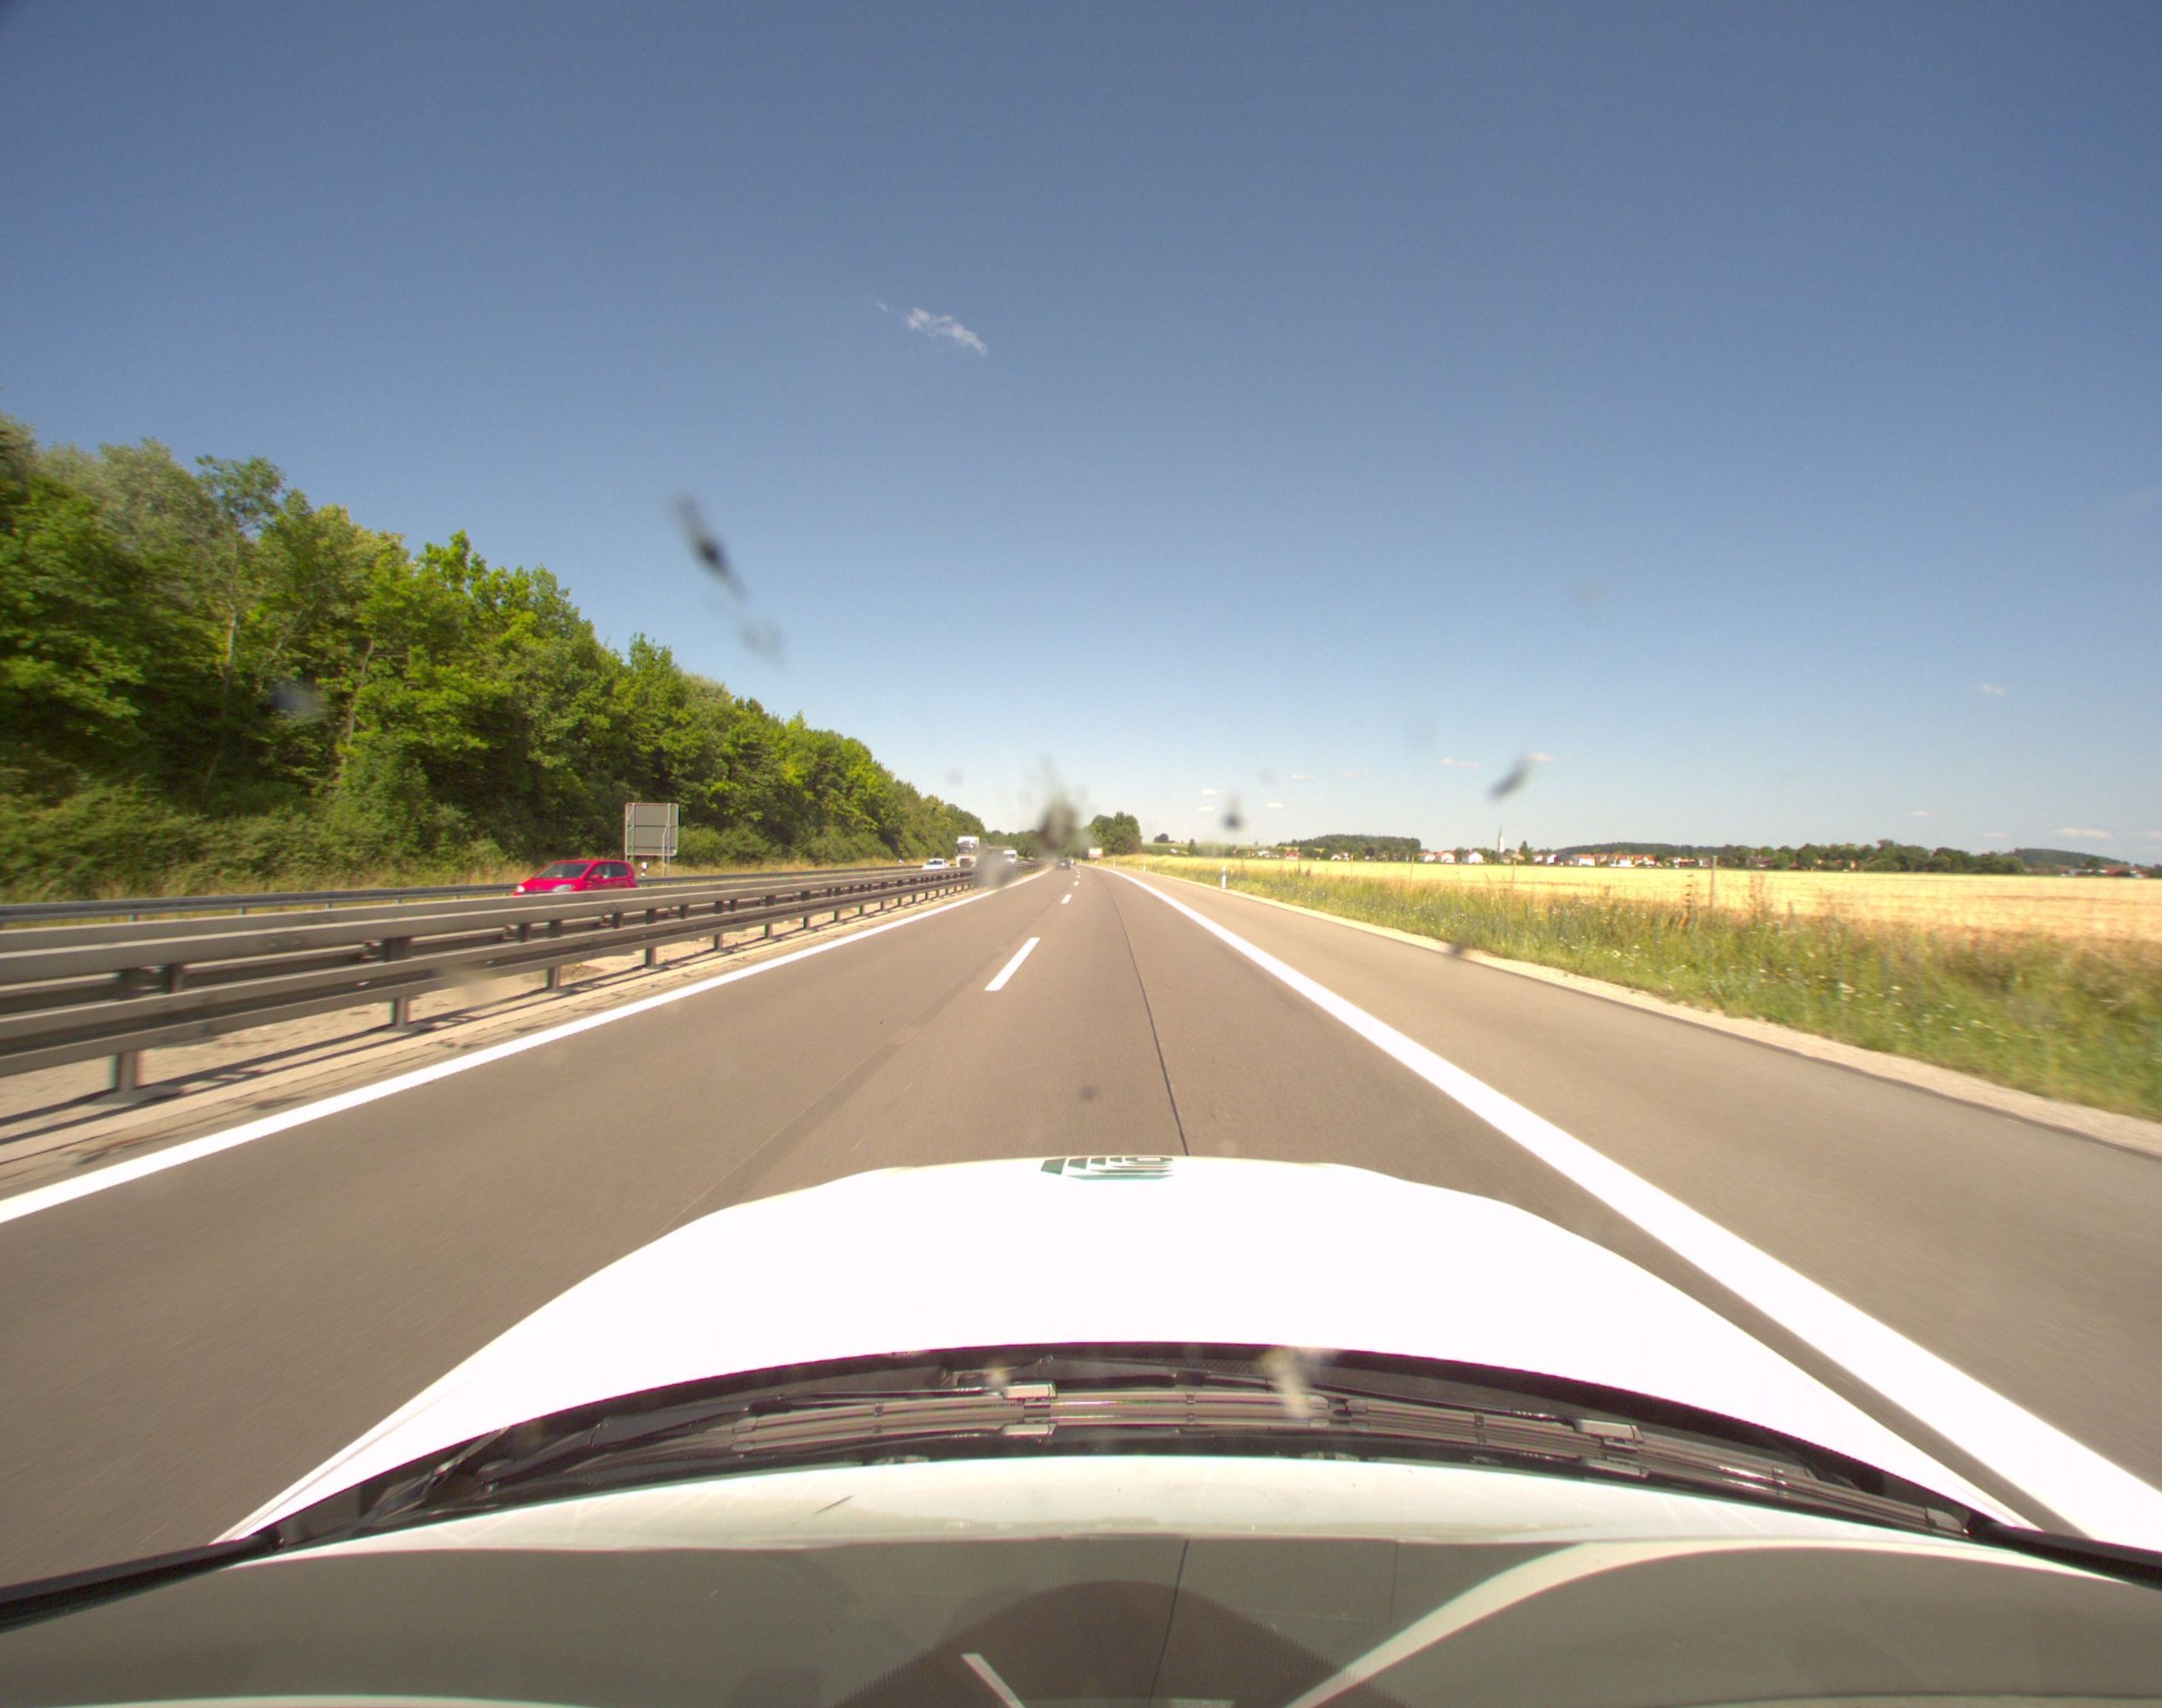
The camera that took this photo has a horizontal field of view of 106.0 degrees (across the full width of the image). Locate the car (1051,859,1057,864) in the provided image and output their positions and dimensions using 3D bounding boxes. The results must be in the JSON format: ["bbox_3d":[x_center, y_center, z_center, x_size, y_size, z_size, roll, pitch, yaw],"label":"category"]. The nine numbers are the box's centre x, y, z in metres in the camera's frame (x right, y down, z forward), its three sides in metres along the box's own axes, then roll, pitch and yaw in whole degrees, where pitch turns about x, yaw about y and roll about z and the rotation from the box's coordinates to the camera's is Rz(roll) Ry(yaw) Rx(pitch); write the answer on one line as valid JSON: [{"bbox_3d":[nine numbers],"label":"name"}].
[{"bbox_3d":[-7.434,2.064,224.462,1.671,1.453,3.590,0,0,-1],"label":"car"}]

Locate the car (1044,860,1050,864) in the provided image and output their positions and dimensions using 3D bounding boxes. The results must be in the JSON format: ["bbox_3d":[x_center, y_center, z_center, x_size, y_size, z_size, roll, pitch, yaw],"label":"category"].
[{"bbox_3d":[-10.958,2.490,258.875,1.670,1.453,3.592,0,0,1],"label":"car"}]

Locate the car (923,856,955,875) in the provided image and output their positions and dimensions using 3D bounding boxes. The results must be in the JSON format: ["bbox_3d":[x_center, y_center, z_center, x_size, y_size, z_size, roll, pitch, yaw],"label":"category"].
[{"bbox_3d":[-11.765,0.940,67.673,1.679,1.483,4.978,0,0,1],"label":"car"}]

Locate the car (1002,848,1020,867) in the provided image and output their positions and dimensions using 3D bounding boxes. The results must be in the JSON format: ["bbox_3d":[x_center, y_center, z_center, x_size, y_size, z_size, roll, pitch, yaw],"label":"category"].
[{"bbox_3d":[-9.609,0.506,111.944,2.083,2.593,5.810,0,0,-1],"label":"car"}]

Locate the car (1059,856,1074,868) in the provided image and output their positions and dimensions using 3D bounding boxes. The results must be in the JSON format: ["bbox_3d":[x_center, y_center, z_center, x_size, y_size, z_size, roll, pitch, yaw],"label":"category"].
[{"bbox_3d":[-1.841,1.031,105.819,1.841,1.432,5.865,0,0,0],"label":"car"}]

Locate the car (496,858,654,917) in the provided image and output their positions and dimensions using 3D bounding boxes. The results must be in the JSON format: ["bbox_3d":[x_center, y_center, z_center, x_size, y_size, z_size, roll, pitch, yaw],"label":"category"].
[{"bbox_3d":[-13.721,0.846,22.409,1.666,1.437,4.143,0,0,1],"label":"car"}]

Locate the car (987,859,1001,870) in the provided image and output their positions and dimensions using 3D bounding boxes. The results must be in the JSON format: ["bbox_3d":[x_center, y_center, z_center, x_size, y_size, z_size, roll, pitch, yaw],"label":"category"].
[{"bbox_3d":[-13.849,1.644,130.101,1.751,1.626,4.001,0,0,1],"label":"car"}]

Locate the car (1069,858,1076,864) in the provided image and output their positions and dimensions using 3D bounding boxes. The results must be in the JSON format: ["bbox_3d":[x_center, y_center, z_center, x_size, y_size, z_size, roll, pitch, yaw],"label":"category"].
[{"bbox_3d":[-1.972,1.614,195.580,1.671,1.453,3.589,0,0,-2],"label":"car"}]

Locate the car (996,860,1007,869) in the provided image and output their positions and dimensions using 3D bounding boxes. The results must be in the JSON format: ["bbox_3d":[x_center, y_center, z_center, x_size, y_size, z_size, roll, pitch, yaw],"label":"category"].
[{"bbox_3d":[-15.706,2.079,161.082,1.751,1.626,4.001,0,0,1],"label":"car"}]

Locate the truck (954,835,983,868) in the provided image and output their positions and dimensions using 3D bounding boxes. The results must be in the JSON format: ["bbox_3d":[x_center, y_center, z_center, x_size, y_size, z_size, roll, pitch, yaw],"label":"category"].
[{"bbox_3d":[-13.756,-0.303,99.755,2.737,3.829,5.909,0,0,-1],"label":"truck"}]
